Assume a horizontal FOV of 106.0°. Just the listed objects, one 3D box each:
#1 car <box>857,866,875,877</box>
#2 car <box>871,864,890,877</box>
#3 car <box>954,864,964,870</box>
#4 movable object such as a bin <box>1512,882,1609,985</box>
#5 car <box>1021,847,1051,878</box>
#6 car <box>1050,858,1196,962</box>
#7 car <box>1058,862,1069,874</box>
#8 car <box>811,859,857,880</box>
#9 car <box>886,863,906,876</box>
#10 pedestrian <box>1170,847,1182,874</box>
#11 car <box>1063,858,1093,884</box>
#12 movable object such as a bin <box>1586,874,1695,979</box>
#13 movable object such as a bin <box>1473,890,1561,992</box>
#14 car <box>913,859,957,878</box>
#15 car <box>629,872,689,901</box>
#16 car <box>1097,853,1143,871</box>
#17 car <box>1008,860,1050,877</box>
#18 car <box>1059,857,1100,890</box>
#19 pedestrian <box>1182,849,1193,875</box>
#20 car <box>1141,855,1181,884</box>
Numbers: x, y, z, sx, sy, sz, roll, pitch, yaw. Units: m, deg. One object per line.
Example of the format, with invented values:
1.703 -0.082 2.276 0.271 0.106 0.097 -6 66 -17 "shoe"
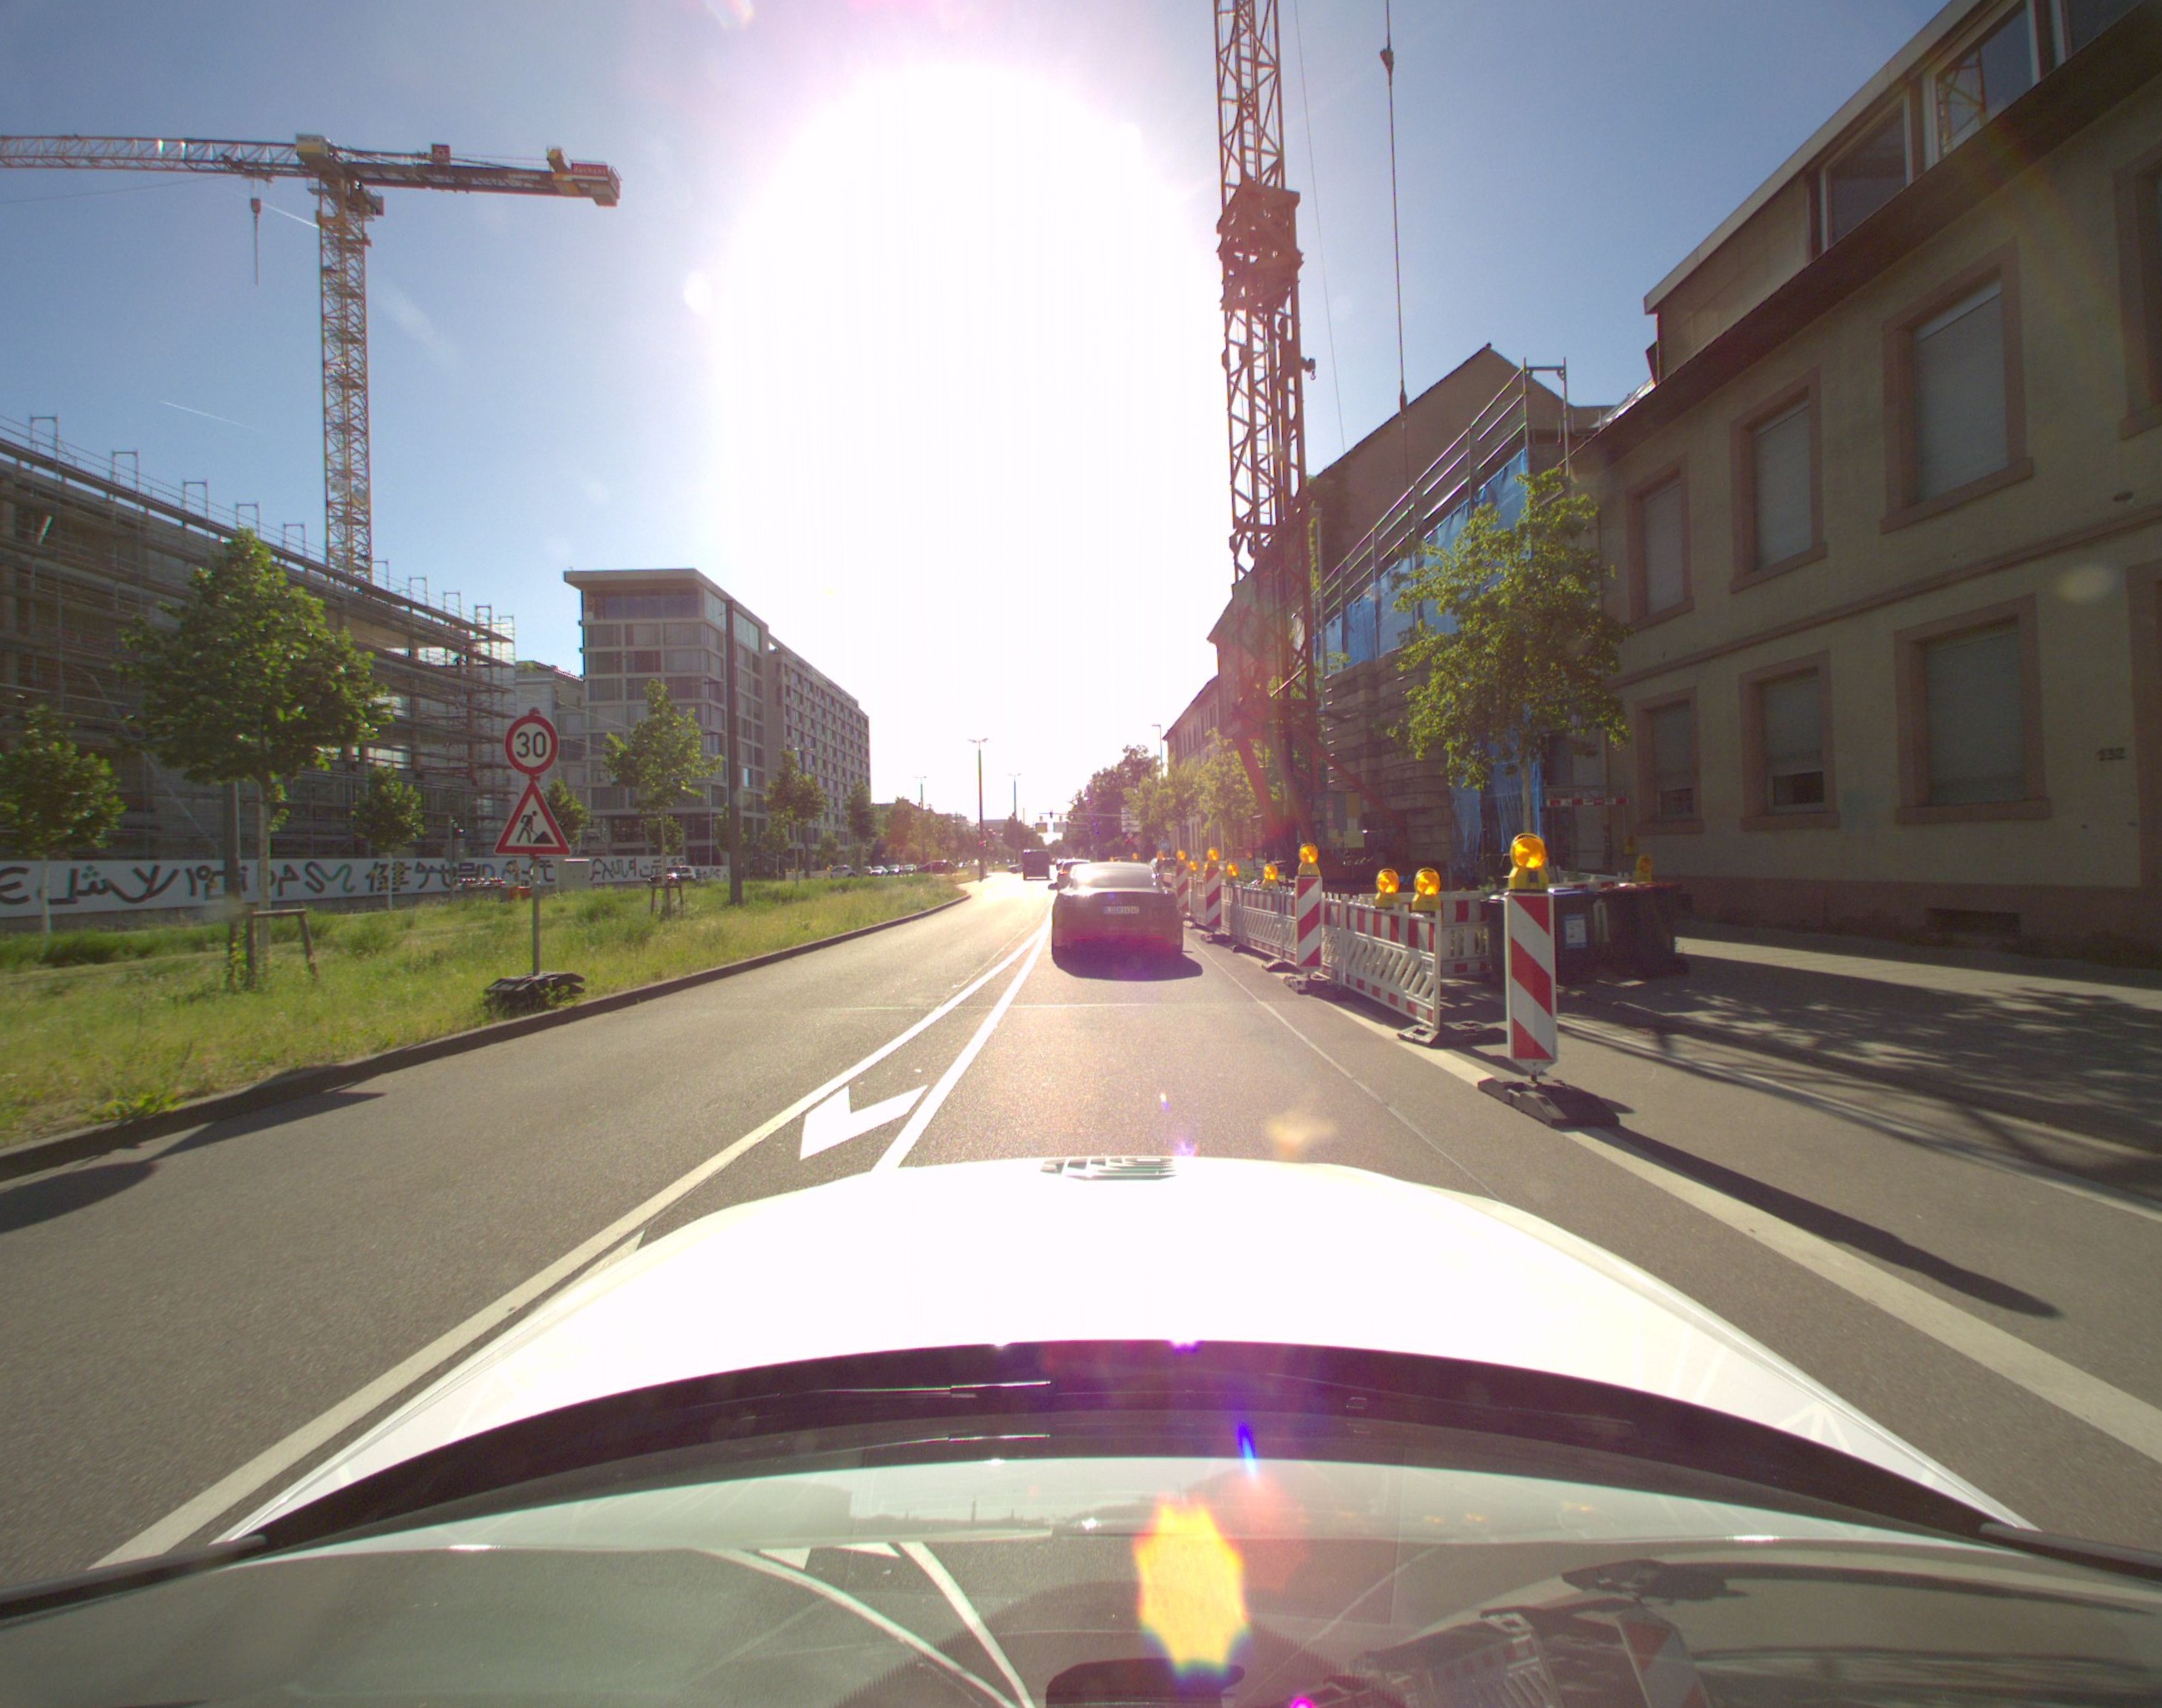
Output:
-34.086 2.705 129.278 1.785 1.651 3.998 -2 0 -1 "car"
-28.435 2.317 115.510 1.785 1.651 3.998 -2 0 -1 "car"
-31.426 3.347 209.918 1.785 1.651 3.998 -2 0 -1 "car"
5.474 0.888 9.337 0.593 1.058 0.730 -5 0 -1 "movable object such as a bin"
-3.417 0.601 62.237 2.212 2.267 4.480 0 0 -2 "car"
0.539 0.796 13.674 2.046 1.444 4.521 0 0 -2 "car"
-2.813 2.300 130.313 1.788 1.874 3.845 0 -1 -3 "car"
-24.504 1.500 80.898 4.003 1.918 1.894 -1 0 -36 "car"
-25.785 2.179 113.508 1.785 1.651 3.998 -2 0 -1 "car"
6.763 0.458 57.850 0.656 1.913 0.587 -5 0 -2 "pedestrian"
-0.204 0.996 50.309 1.744 1.527 4.003 -1 0 -1 "car"
6.348 0.800 9.277 0.587 1.057 0.782 -6 0 -6 "movable object such as a bin"
4.868 0.948 9.119 0.586 1.058 0.730 0 0 -1 "movable object such as a bin"
-15.629 1.552 86.990 4.517 1.792 1.991 -2 0 -13 "car"
-30.813 2.347 59.609 1.901 1.918 4.332 -2 0 3 "car"
4.200 0.867 87.592 4.479 1.792 2.008 -2 0 14 "car"
-5.716 1.574 89.482 4.504 1.792 1.997 -2 0 -5 "car"
-0.115 0.843 37.446 1.743 1.427 4.835 -1 0 -1 "car"
7.580 0.543 57.845 0.561 1.821 0.587 -5 0 -2 "pedestrian"
4.592 0.878 47.070 1.643 1.475 4.697 -4 0 -2 "car"
